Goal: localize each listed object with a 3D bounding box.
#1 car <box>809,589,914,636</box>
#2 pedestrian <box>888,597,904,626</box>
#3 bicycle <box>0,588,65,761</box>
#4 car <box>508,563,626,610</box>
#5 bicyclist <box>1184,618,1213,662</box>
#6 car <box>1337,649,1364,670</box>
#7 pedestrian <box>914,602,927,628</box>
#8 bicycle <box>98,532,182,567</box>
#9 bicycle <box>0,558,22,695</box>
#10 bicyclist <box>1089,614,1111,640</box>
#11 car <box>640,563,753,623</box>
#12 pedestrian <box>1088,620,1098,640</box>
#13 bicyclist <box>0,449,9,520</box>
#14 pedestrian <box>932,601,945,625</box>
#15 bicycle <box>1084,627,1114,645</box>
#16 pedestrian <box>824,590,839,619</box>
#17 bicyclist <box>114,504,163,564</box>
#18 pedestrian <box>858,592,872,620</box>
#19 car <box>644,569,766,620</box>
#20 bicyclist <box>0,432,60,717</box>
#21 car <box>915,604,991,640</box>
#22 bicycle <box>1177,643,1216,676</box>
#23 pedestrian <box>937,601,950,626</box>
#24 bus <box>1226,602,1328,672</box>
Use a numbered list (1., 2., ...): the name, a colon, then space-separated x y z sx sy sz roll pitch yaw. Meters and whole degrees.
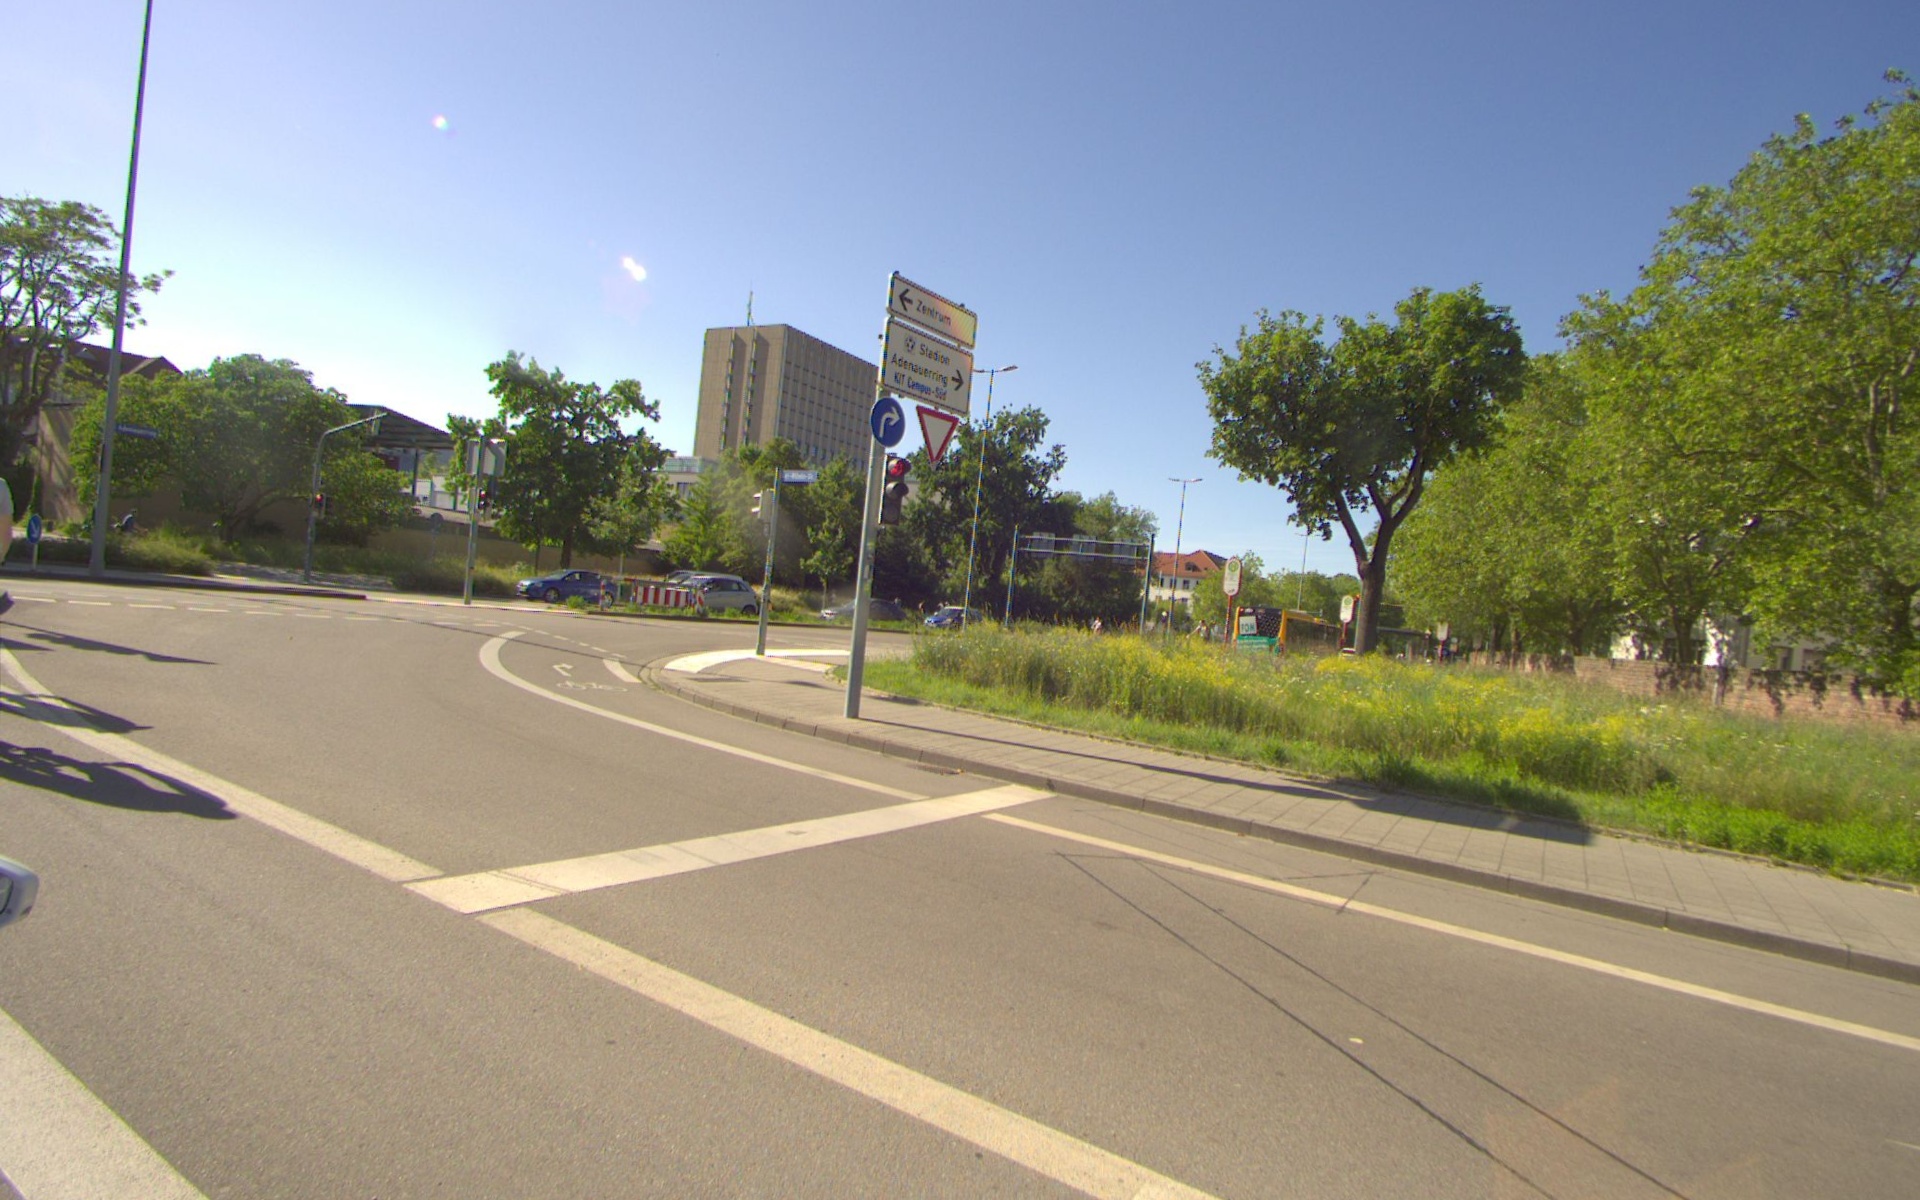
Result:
1. car: -4.305 0.578 44.717 1.968 1.604 4.735 6 0 34
2. pedestrian: -4.398 0.771 68.770 0.702 1.872 0.561 7 1 35
3. bicycle: -6.295 0.358 6.098 1.946 0.906 0.741 6 -2 33
4. car: -16.089 -0.517 41.348 1.717 1.453 4.162 7 0 38
5. bicyclist: 7.976 1.337 33.618 0.509 1.368 1.002 7 1 32
6. car: 33.147 5.043 85.353 1.670 1.525 3.770 6 0 27
7. pedestrian: -2.891 1.117 73.428 0.519 1.801 0.561 7 1 35
8. bicycle: -28.063 -1.720 34.471 0.685 0.942 2.080 9 2 37
9. bicycle: -8.202 0.087 7.782 1.935 1.014 0.661 6 -1 26
10. bicyclist: 9.614 1.828 68.995 0.778 1.649 1.316 7 1 35
11. car: -12.308 -0.276 47.338 1.968 2.131 4.885 6 -2 34
12. pedestrian: 12.689 2.882 96.088 0.519 1.801 0.561 7 1 33
13. bicyclist: -8.136 -0.374 7.788 1.048 1.759 0.647 7 -1 26
14. pedestrian: -1.623 0.969 75.684 0.519 1.716 0.561 7 1 35
15. bicycle: 9.566 2.474 68.987 0.778 1.032 2.630 7 0 36
16. pedestrian: -8.357 0.296 65.319 0.519 1.801 0.561 7 1 33
17. bicyclist: -28.050 -2.243 34.348 0.644 1.891 1.099 7 1 42
18. pedestrian: -6.493 0.413 68.617 0.519 1.800 0.562 7 1 33
19. car: -9.431 -0.193 37.438 1.840 1.426 4.046 6 0 38
20. bicyclist: -6.220 -0.207 6.098 1.000 1.688 0.752 6 -1 33
21. car: -0.301 1.123 50.431 1.758 1.448 3.989 6 0 34
22. bicycle: 7.922 2.014 33.655 0.509 1.007 2.056 7 0 32
23. pedestrian: -1.224 1.038 75.266 0.519 1.801 0.561 7 1 35
24. bus: 16.691 2.053 52.375 2.749 2.662 10.104 6 -2 30
